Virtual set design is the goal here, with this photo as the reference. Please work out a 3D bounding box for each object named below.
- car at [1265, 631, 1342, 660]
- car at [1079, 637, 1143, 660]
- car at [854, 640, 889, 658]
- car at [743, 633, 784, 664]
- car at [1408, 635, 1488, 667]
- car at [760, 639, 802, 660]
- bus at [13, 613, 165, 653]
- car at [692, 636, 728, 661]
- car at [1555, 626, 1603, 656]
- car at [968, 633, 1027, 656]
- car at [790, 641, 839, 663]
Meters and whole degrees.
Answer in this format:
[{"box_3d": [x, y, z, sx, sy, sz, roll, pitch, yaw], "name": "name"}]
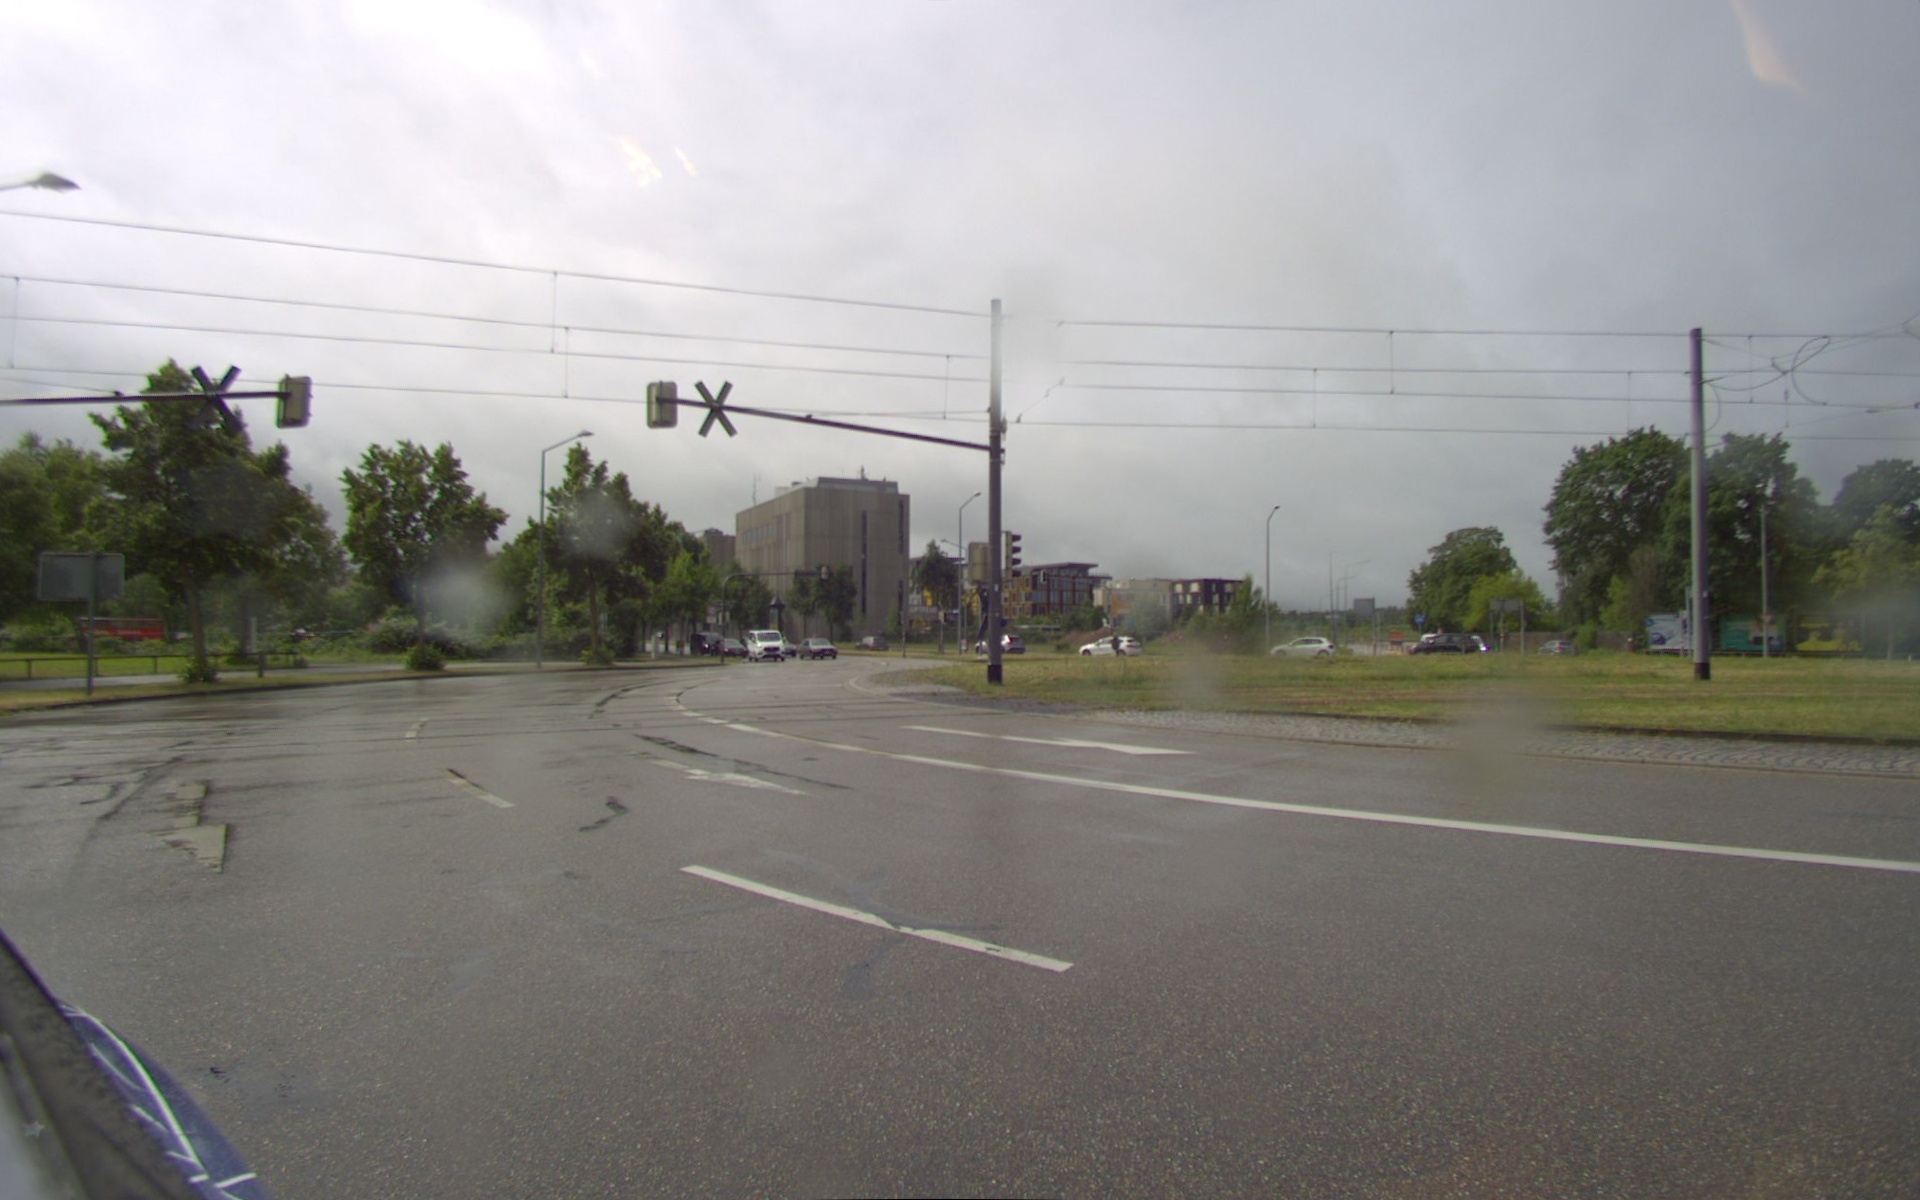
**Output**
[{"box_3d": [21.791, 2.853, 64.261, 4.446, 1.685, 1.850, 1, -2, 26], "name": "car"}, {"box_3d": [10.005, 3.213, 67.154, 3.901, 1.519, 1.704, -2, -3, 40], "name": "car"}, {"box_3d": [-7.733, 4.300, 88.491, 1.705, 1.424, 4.141, 1, -4, -25], "name": "car"}, {"box_3d": [-13.077, 3.235, 67.180, 2.043, 2.003, 4.815, 1, -3, -19], "name": "car"}, {"box_3d": [26.467, 2.724, 54.927, 3.804, 1.685, 1.849, -1, -2, 29], "name": "car"}, {"box_3d": [-13.646, 3.744, 76.924, 1.835, 1.547, 4.502, 2, -2, -27], "name": "car"}, {"box_3d": [-82.447, 3.061, 96.122, 10.804, 3.486, 2.005, 0, -3, -36], "name": "bus"}, {"box_3d": [-21.061, 4.092, 85.079, 2.042, 2.003, 4.815, 1, -3, -25], "name": "car"}, {"box_3d": [44.443, 2.912, 72.785, 1.984, 2.029, 3.975, -3, -3, 18], "name": "car"}, {"box_3d": [2.789, 3.366, 76.322, 1.846, 1.676, 4.489, 2, -4, -41], "name": "car"}, {"box_3d": [-9.910, 3.522, 68.719, 1.835, 1.391, 4.566, 0, -2, -27], "name": "car"}]
